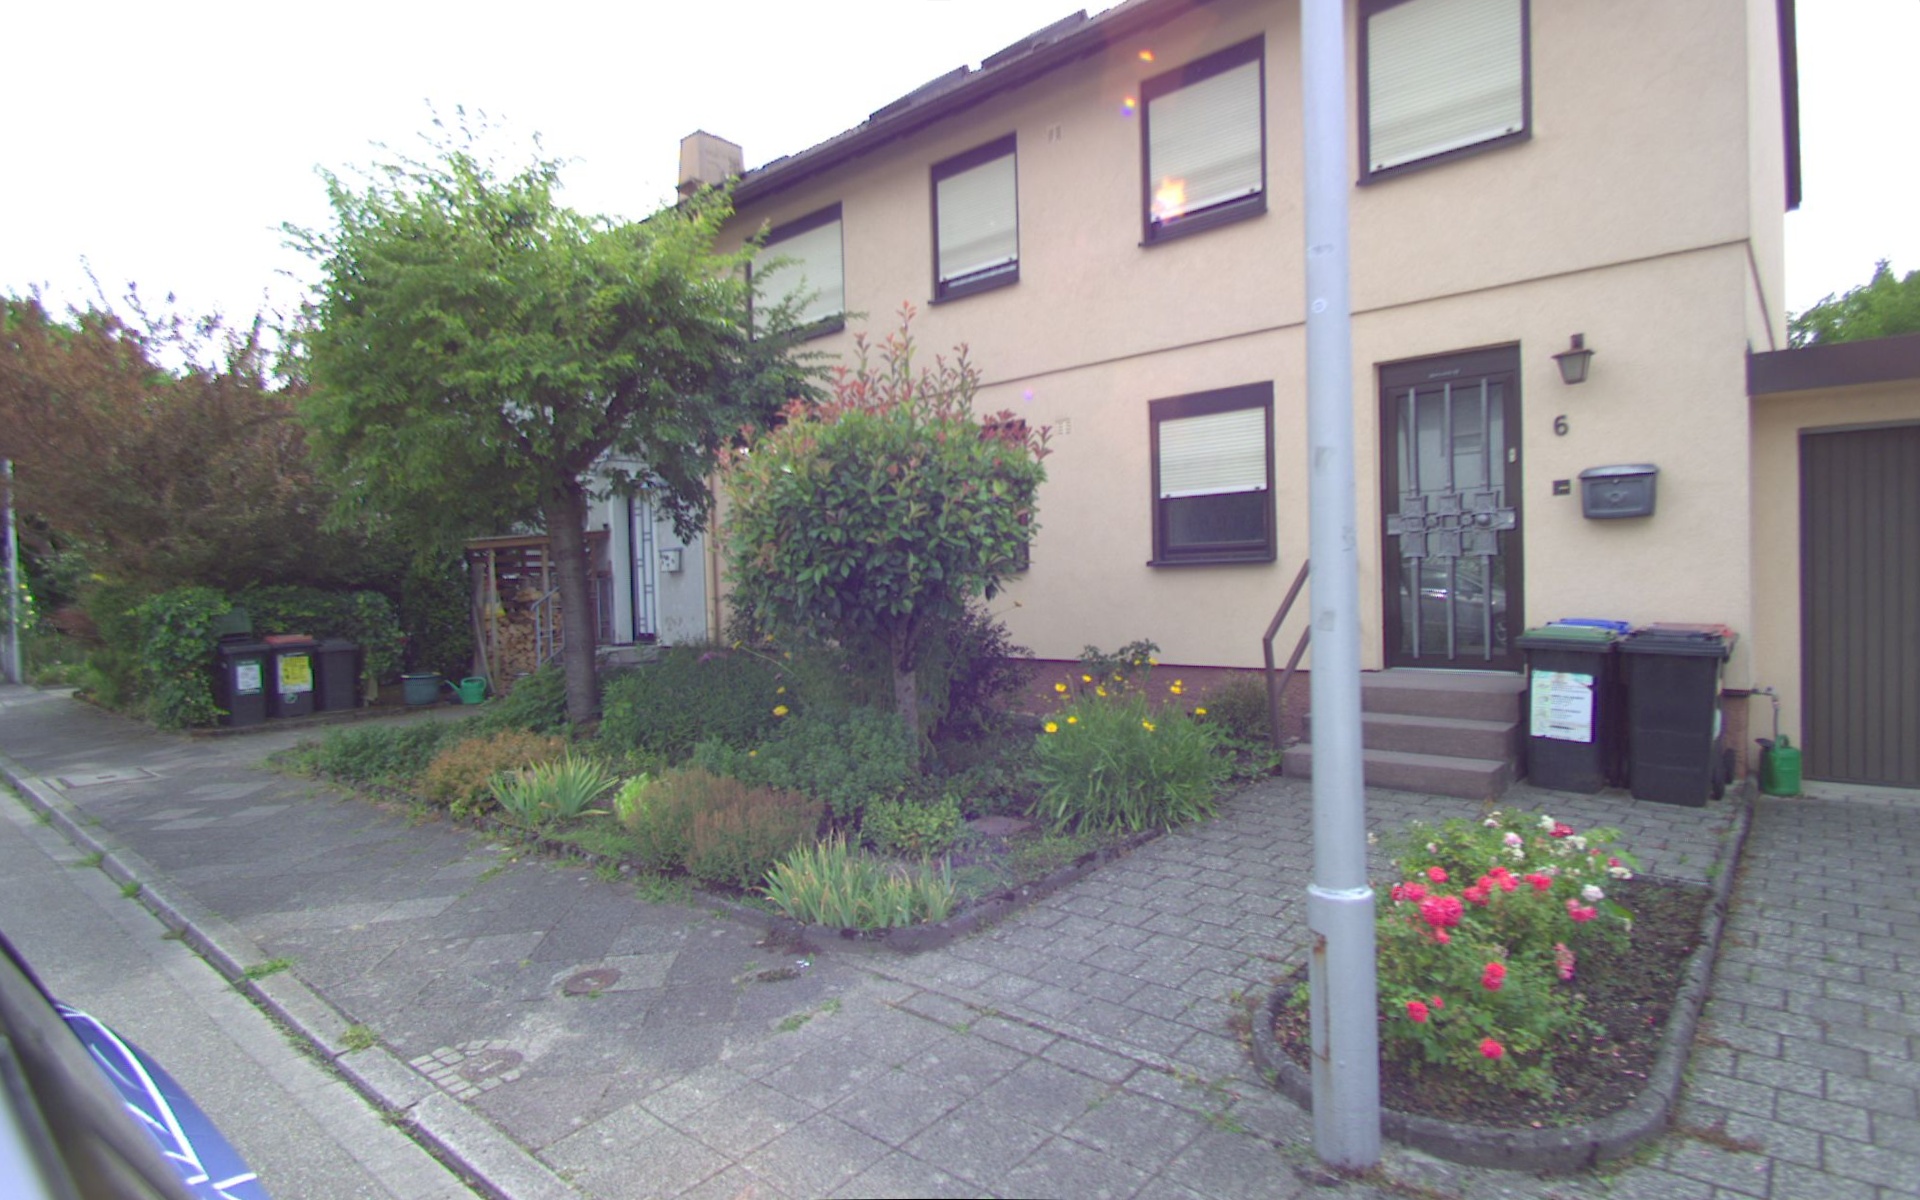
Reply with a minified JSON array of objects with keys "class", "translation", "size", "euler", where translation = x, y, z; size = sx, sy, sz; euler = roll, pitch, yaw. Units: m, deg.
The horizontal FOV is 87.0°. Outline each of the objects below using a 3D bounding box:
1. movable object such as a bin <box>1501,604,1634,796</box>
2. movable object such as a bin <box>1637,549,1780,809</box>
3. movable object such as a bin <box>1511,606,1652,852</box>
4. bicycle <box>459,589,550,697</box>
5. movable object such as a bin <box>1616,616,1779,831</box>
[{"class":"movable object such as a bin","translation":[3.478,0.535,5.787],"size":[0.541,1.010,0.646],"euler":[-1,0,41]},{"class":"movable object such as a bin","translation":[4.273,0.420,5.782],"size":[0.610,1.395,0.406],"euler":[-1,1,41]},{"class":"movable object such as a bin","translation":[3.843,0.746,6.255],"size":[0.632,1.395,0.646],"euler":[-1,0,41]},{"class":"bicycle","translation":[-6.383,0.578,14.139],"size":[1.848,1.406,0.427],"euler":[-1,1,43]},{"class":"movable object such as a bin","translation":[3.913,0.609,5.366],"size":[0.632,1.029,0.646],"euler":[-1,0,41]}]
